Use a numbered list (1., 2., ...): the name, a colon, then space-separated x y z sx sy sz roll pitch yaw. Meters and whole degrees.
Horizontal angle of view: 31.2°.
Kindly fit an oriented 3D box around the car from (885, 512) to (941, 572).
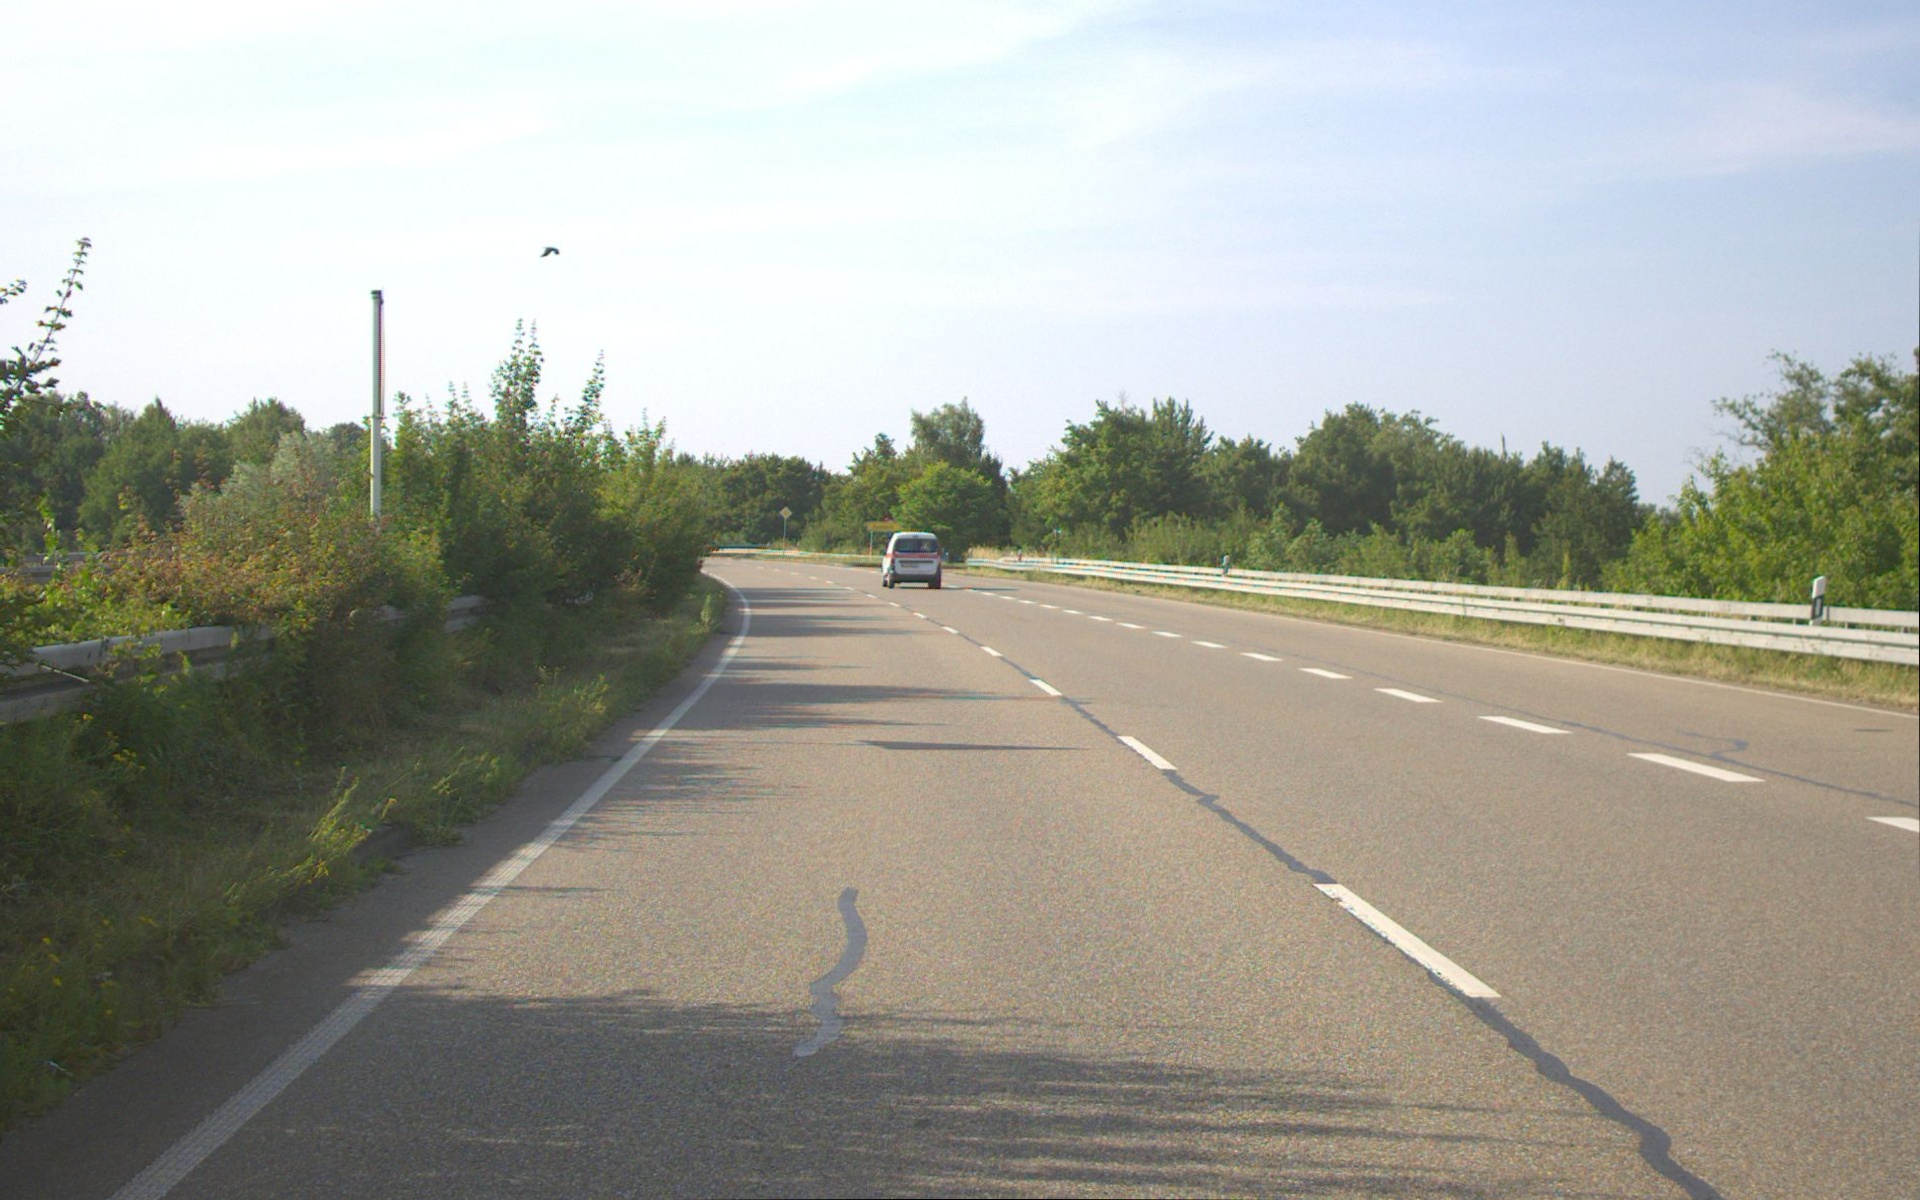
1. car: -1.537 -1.863 110.760 1.765 1.875 4.000 0 1 -1
